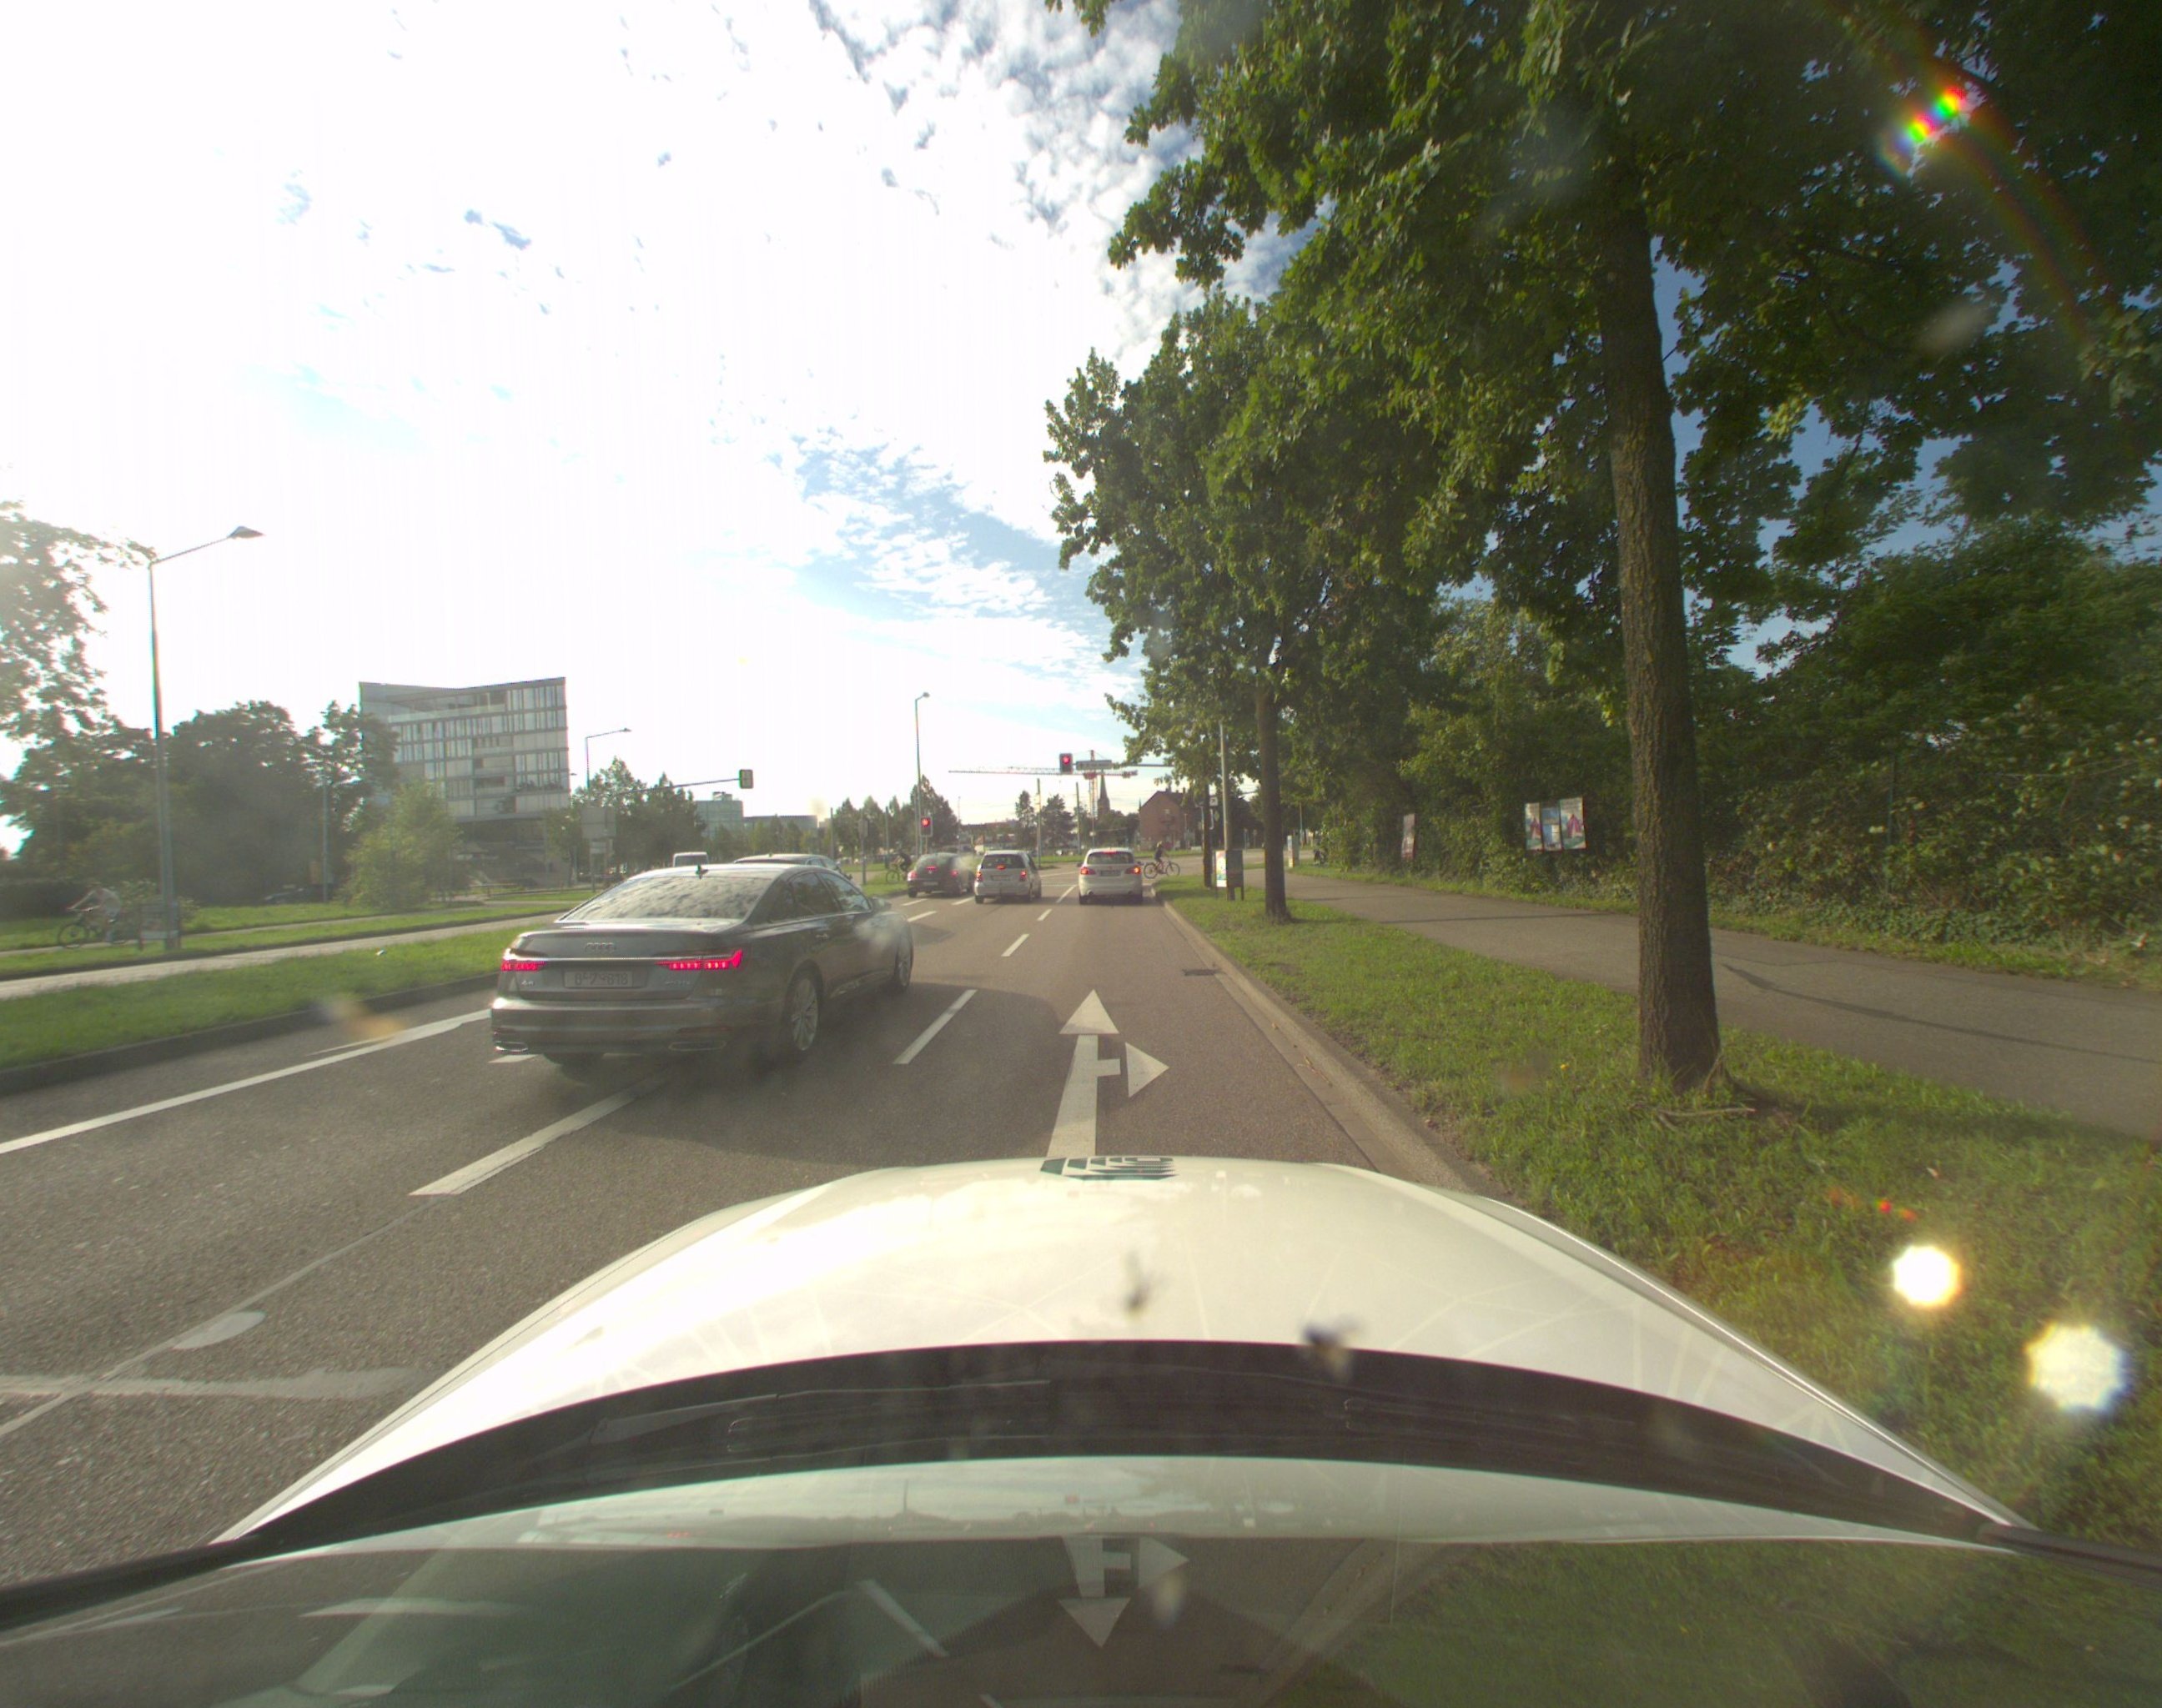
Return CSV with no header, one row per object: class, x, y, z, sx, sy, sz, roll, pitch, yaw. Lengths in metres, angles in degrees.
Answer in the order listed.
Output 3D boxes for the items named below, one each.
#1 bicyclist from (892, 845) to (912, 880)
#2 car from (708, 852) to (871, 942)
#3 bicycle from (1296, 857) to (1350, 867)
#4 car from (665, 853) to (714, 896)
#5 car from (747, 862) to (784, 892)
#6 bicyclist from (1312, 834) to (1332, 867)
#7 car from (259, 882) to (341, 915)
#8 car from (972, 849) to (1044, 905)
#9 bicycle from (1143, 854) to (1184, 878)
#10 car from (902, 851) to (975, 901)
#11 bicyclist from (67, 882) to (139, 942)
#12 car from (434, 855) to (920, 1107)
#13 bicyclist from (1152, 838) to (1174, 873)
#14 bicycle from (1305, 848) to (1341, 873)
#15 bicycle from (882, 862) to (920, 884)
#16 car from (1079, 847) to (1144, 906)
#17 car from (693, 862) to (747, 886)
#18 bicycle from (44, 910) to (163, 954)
bicyclist,-8.674,0.415,39.491,0.786,1.668,0.549,-3,0,-3
car,-5.728,0.771,16.566,1.722,1.558,4.021,-1,0,2
bicycle,10.982,0.369,37.089,1.407,0.385,2.568,-3,0,-9
car,-22.889,1.192,47.836,2.001,2.235,5.882,-4,0,-21
car,-18.413,1.333,47.659,1.710,1.573,3.975,-4,0,-18
bicyclist,12.170,-0.173,41.140,0.765,1.647,0.535,-3,1,1
car,-53.341,3.001,55.658,1.975,2.014,4.023,-1,-1,44
car,-2.193,0.646,25.483,1.722,1.558,4.060,-1,0,2
bicycle,3.898,0.560,38.529,1.771,1.050,0.708,-2,0,-11
car,-4.913,0.724,28.498,1.714,1.564,3.880,-1,1,2
bicyclist,-26.835,1.573,22.353,0.702,1.525,0.990,-3,0,1
car,-2.911,0.775,7.245,1.883,1.483,4.614,-1,0,1
bicyclist,3.876,0.069,38.534,0.830,1.647,0.683,-2,0,-11
bicycle,12.214,0.336,41.139,1.613,1.218,0.491,-2,0,0
bicycle,-8.745,0.904,39.501,1.670,0.967,0.643,-3,0,-4
car,0.884,0.580,23.959,1.723,1.558,4.059,-1,0,1
car,-26.522,1.457,59.876,3.182,1.574,1.572,-3,-1,-4
bicycle,-26.838,2.115,22.411,0.891,0.981,1.912,-3,0,1
